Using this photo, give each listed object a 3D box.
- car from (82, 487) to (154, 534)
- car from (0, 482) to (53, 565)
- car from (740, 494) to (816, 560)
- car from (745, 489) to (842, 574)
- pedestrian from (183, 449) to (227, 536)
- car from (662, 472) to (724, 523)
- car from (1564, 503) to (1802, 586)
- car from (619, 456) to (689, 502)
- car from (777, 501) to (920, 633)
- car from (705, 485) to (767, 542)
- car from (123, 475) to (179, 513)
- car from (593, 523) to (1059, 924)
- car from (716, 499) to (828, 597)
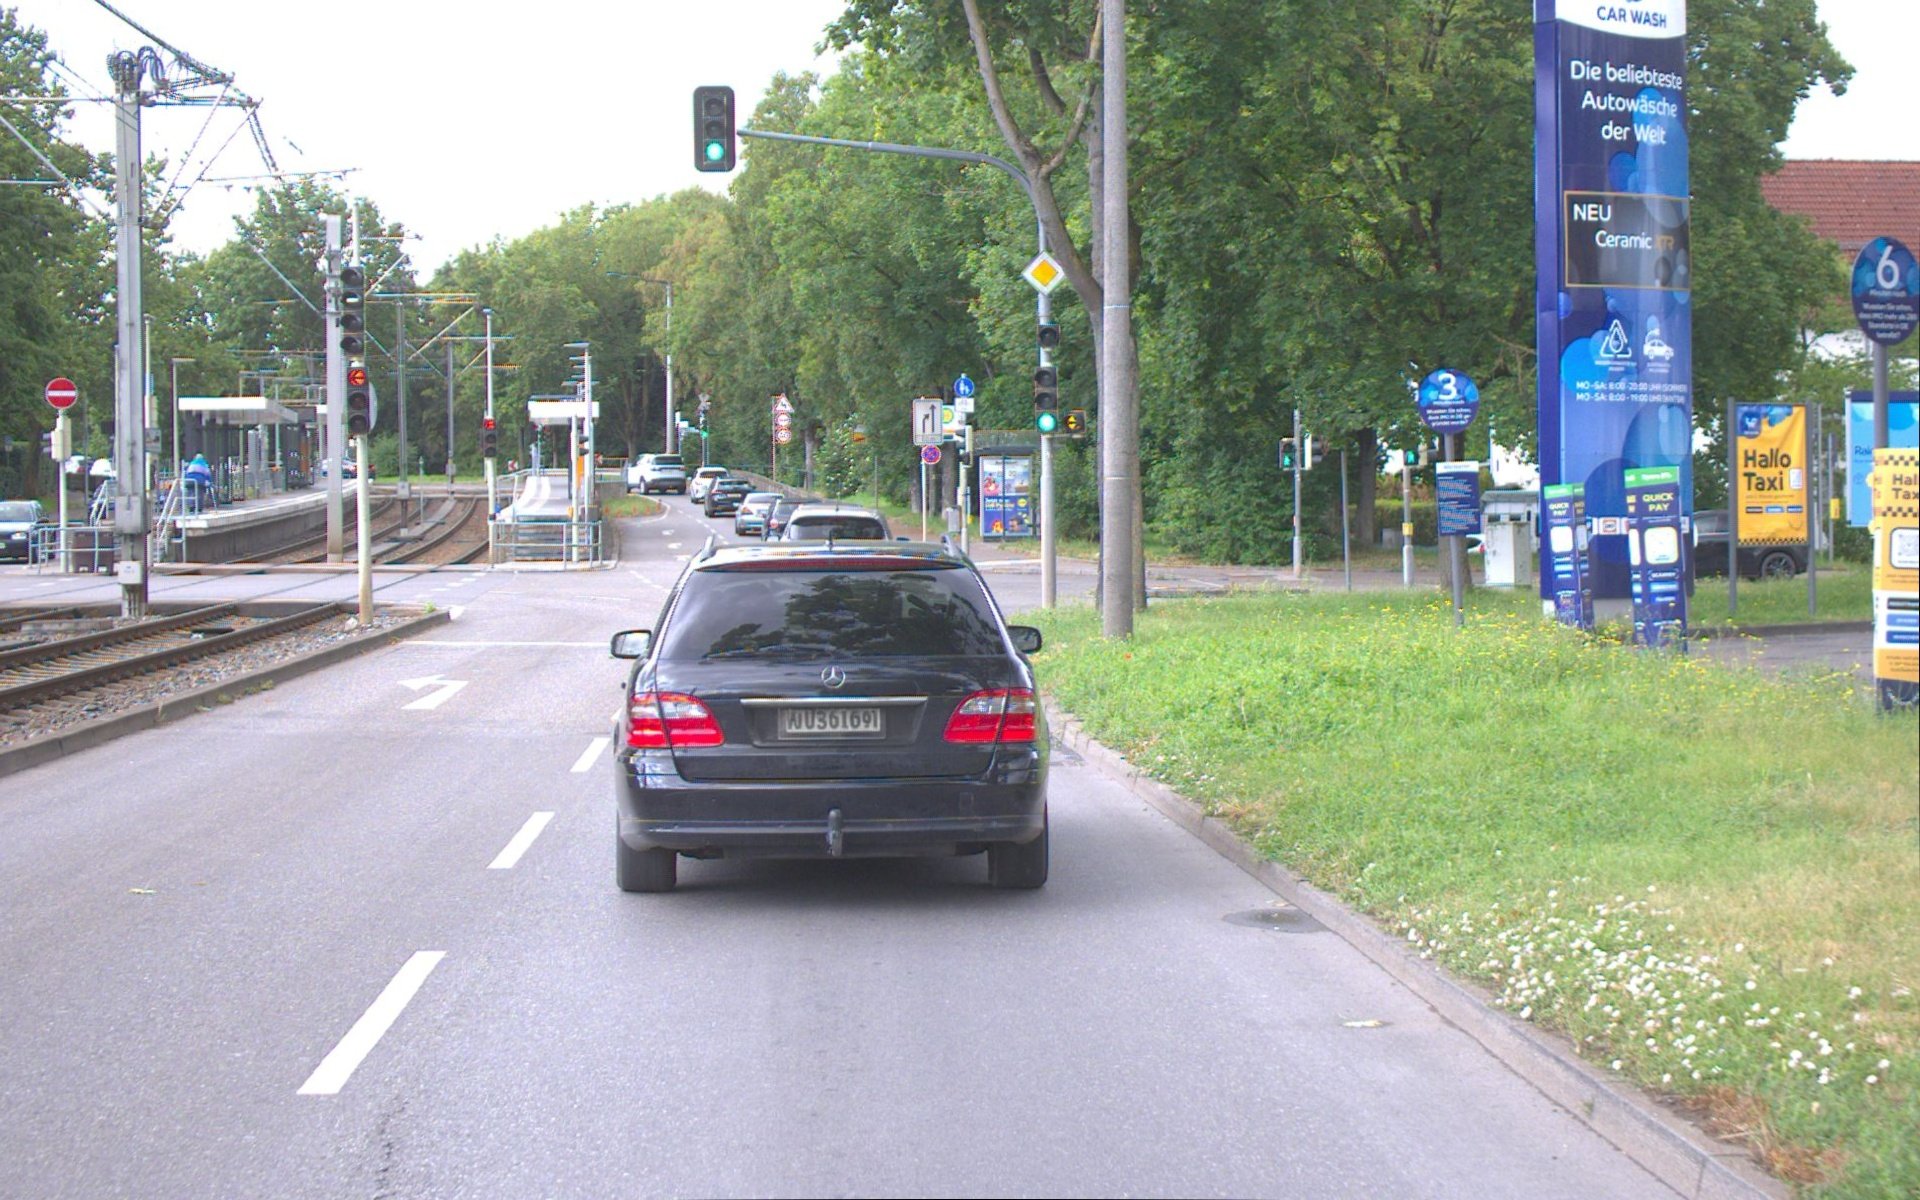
[{"bbox_3d":[-30.490,-3.270,124.627,1.993,1.476,4.508,2,3,-7],"label":"car"},{"bbox_3d":[-22.119,-1.778,79.378,1.696,1.854,4.001,2,1,-7],"label":"car"},{"bbox_3d":[-5.529,-2.195,103.995,1.993,1.886,4.001,2,1,-7],"label":"car"},{"bbox_3d":[-4.023,-1.647,82.680,1.993,1.911,4.001,2,1,-7],"label":"car"},{"bbox_3d":[-19.144,-2.726,87.228,0.969,2.178,0.976,0,2,-5],"label":"pedestrian"},{"bbox_3d":[-11.064,-4.233,142.129,1.993,2.007,4.001,2,1,-12],"label":"car"},{"bbox_3d":[13.583,-1.035,64.745,4.152,1.521,1.704,0,1,3],"label":"car"},{"bbox_3d":[-13.926,-5.508,156.461,1.993,2.007,4.001,2,1,-23],"label":"car"},{"bbox_3d":[-1.470,-0.461,46.530,1.782,1.642,4.000,2,1,-1],"label":"car"},{"bbox_3d":[-8.161,-3.131,125.048,1.993,1.960,4.001,2,1,-7],"label":"car"},{"bbox_3d":[-32.171,-4.209,136.813,1.685,1.441,4.001,-2,1,-7],"label":"car"},{"bbox_3d":[-0.677,0.426,15.180,1.781,1.520,4.001,0,1,-5],"label":"car"},{"bbox_3d":[-3.343,-0.940,61.694,1.782,1.642,4.000,2,1,-1],"label":"car"}]
